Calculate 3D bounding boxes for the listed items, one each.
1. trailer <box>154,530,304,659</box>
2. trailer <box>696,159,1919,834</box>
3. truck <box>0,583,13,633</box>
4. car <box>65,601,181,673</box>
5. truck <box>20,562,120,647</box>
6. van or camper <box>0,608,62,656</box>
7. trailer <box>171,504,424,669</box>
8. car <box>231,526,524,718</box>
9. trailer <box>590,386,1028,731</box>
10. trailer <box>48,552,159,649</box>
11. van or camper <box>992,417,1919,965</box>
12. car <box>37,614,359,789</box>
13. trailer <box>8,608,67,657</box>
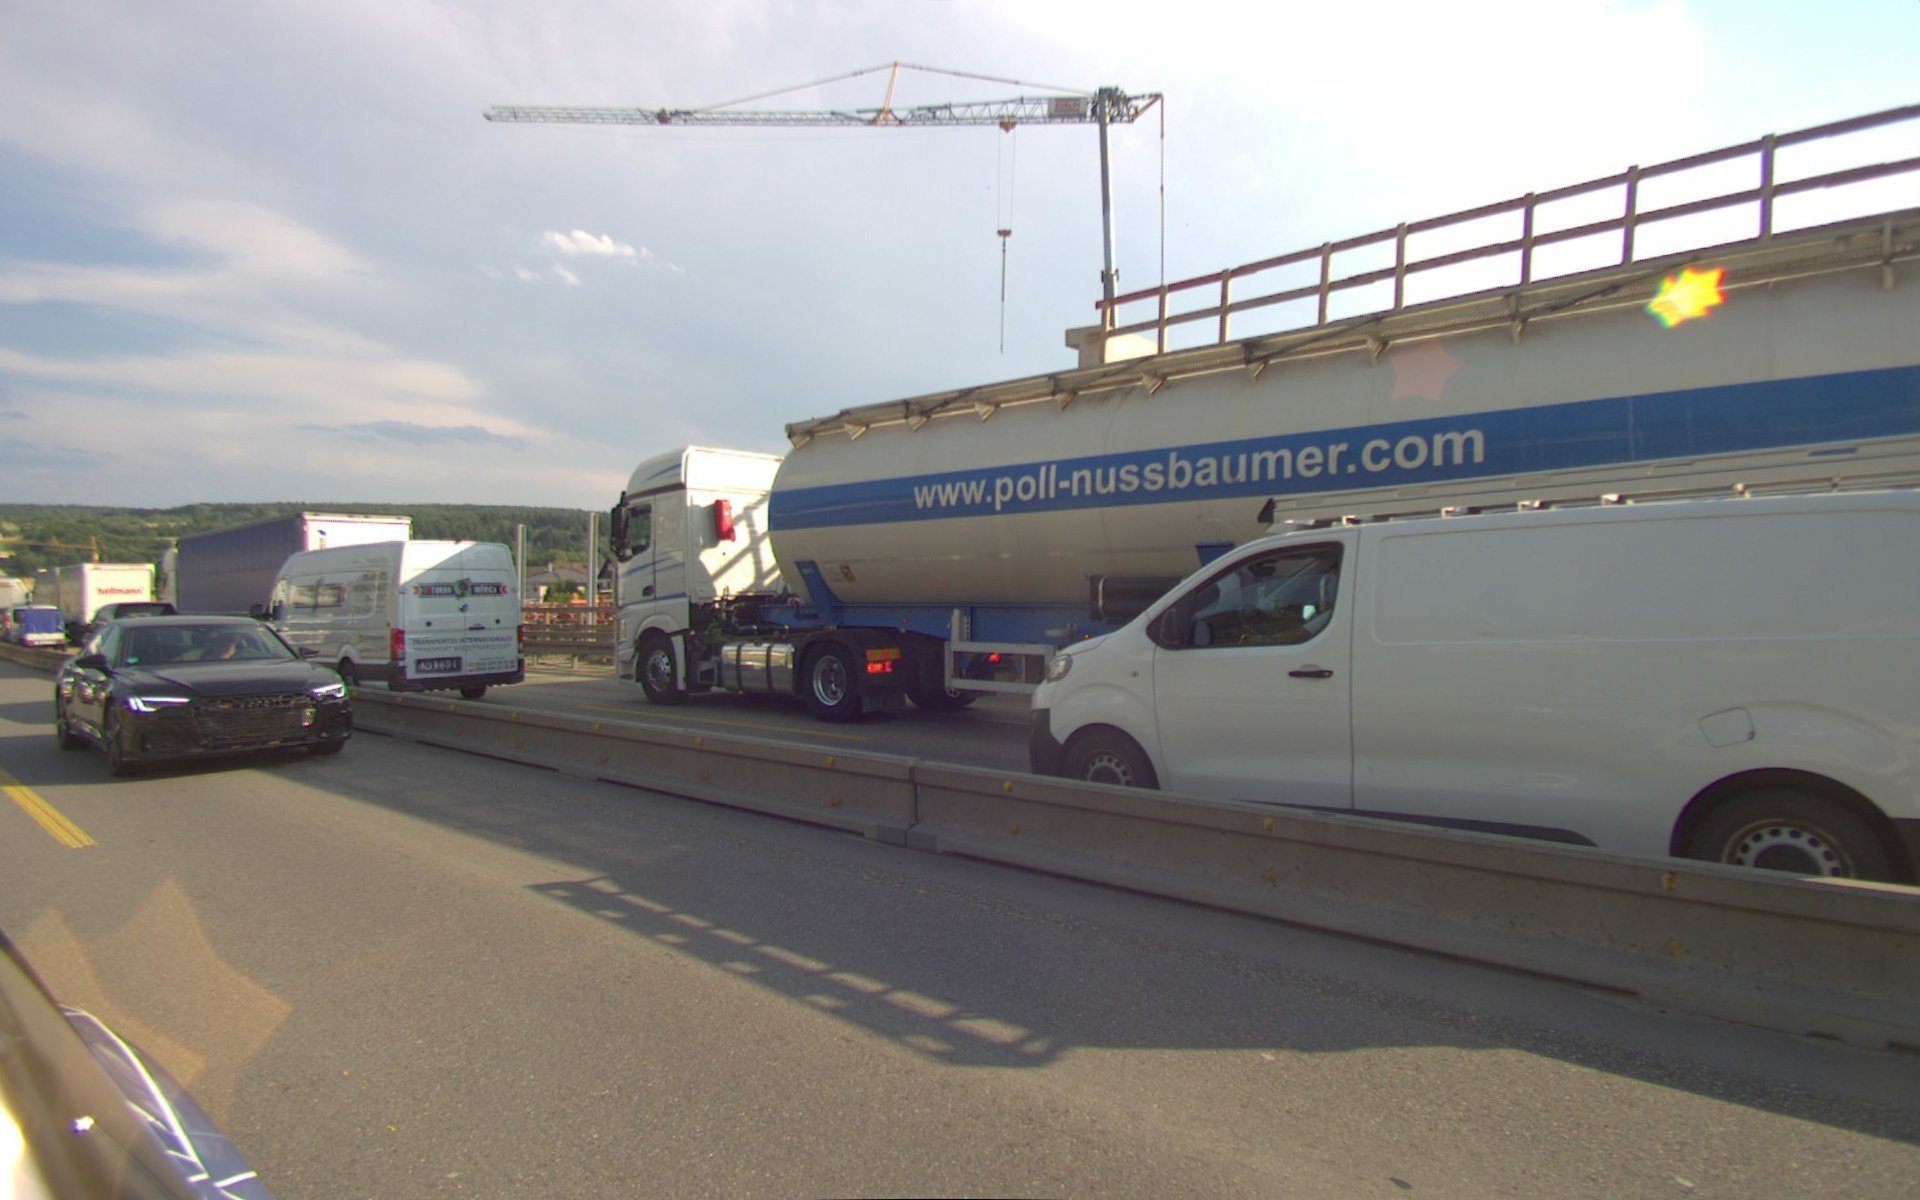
[{"bbox_3d":[-25.359,-0.161,34.990,6.220,4.067,2.895,-1,0,42],"label":"trailer"},{"bbox_3d":[2.343,-0.533,10.360,13.436,3.879,2.625,-1,0,41],"label":"trailer"},{"bbox_3d":[-80.764,0.730,83.675,7.595,4.092,2.836,-1,0,41],"label":"truck"},{"bbox_3d":[-23.915,1.013,28.859,4.851,1.857,1.762,-1,0,41],"label":"car"},{"bbox_3d":[-48.532,0.279,55.070,10.068,4.295,2.798,-1,0,41],"label":"truck"},{"bbox_3d":[-40.317,1.352,43.579,5.001,1.906,1.844,-1,0,41],"label":"van or camper"},{"bbox_3d":[-20.455,-0.257,30.566,13.769,4.067,2.894,-1,0,42],"label":"trailer"},{"bbox_3d":[-10.104,0.337,17.126,7.406,2.642,1.973,-1,0,41],"label":"car"},{"bbox_3d":[-2.401,-0.440,14.494,6.426,3.879,2.625,-1,0,41],"label":"trailer"},{"bbox_3d":[-41.481,0.077,48.867,8.731,4.315,2.798,-1,0,41],"label":"trailer"},{"bbox_3d":[2.830,0.351,5.561,5.291,2.029,1.839,-1,0,40],"label":"van or camper"},{"bbox_3d":[-8.093,0.897,10.591,4.346,1.430,1.849,-1,-1,41],"label":"car"},{"bbox_3d":[-37.316,1.292,40.913,2.983,1.868,1.433,-1,0,41],"label":"trailer"}]
